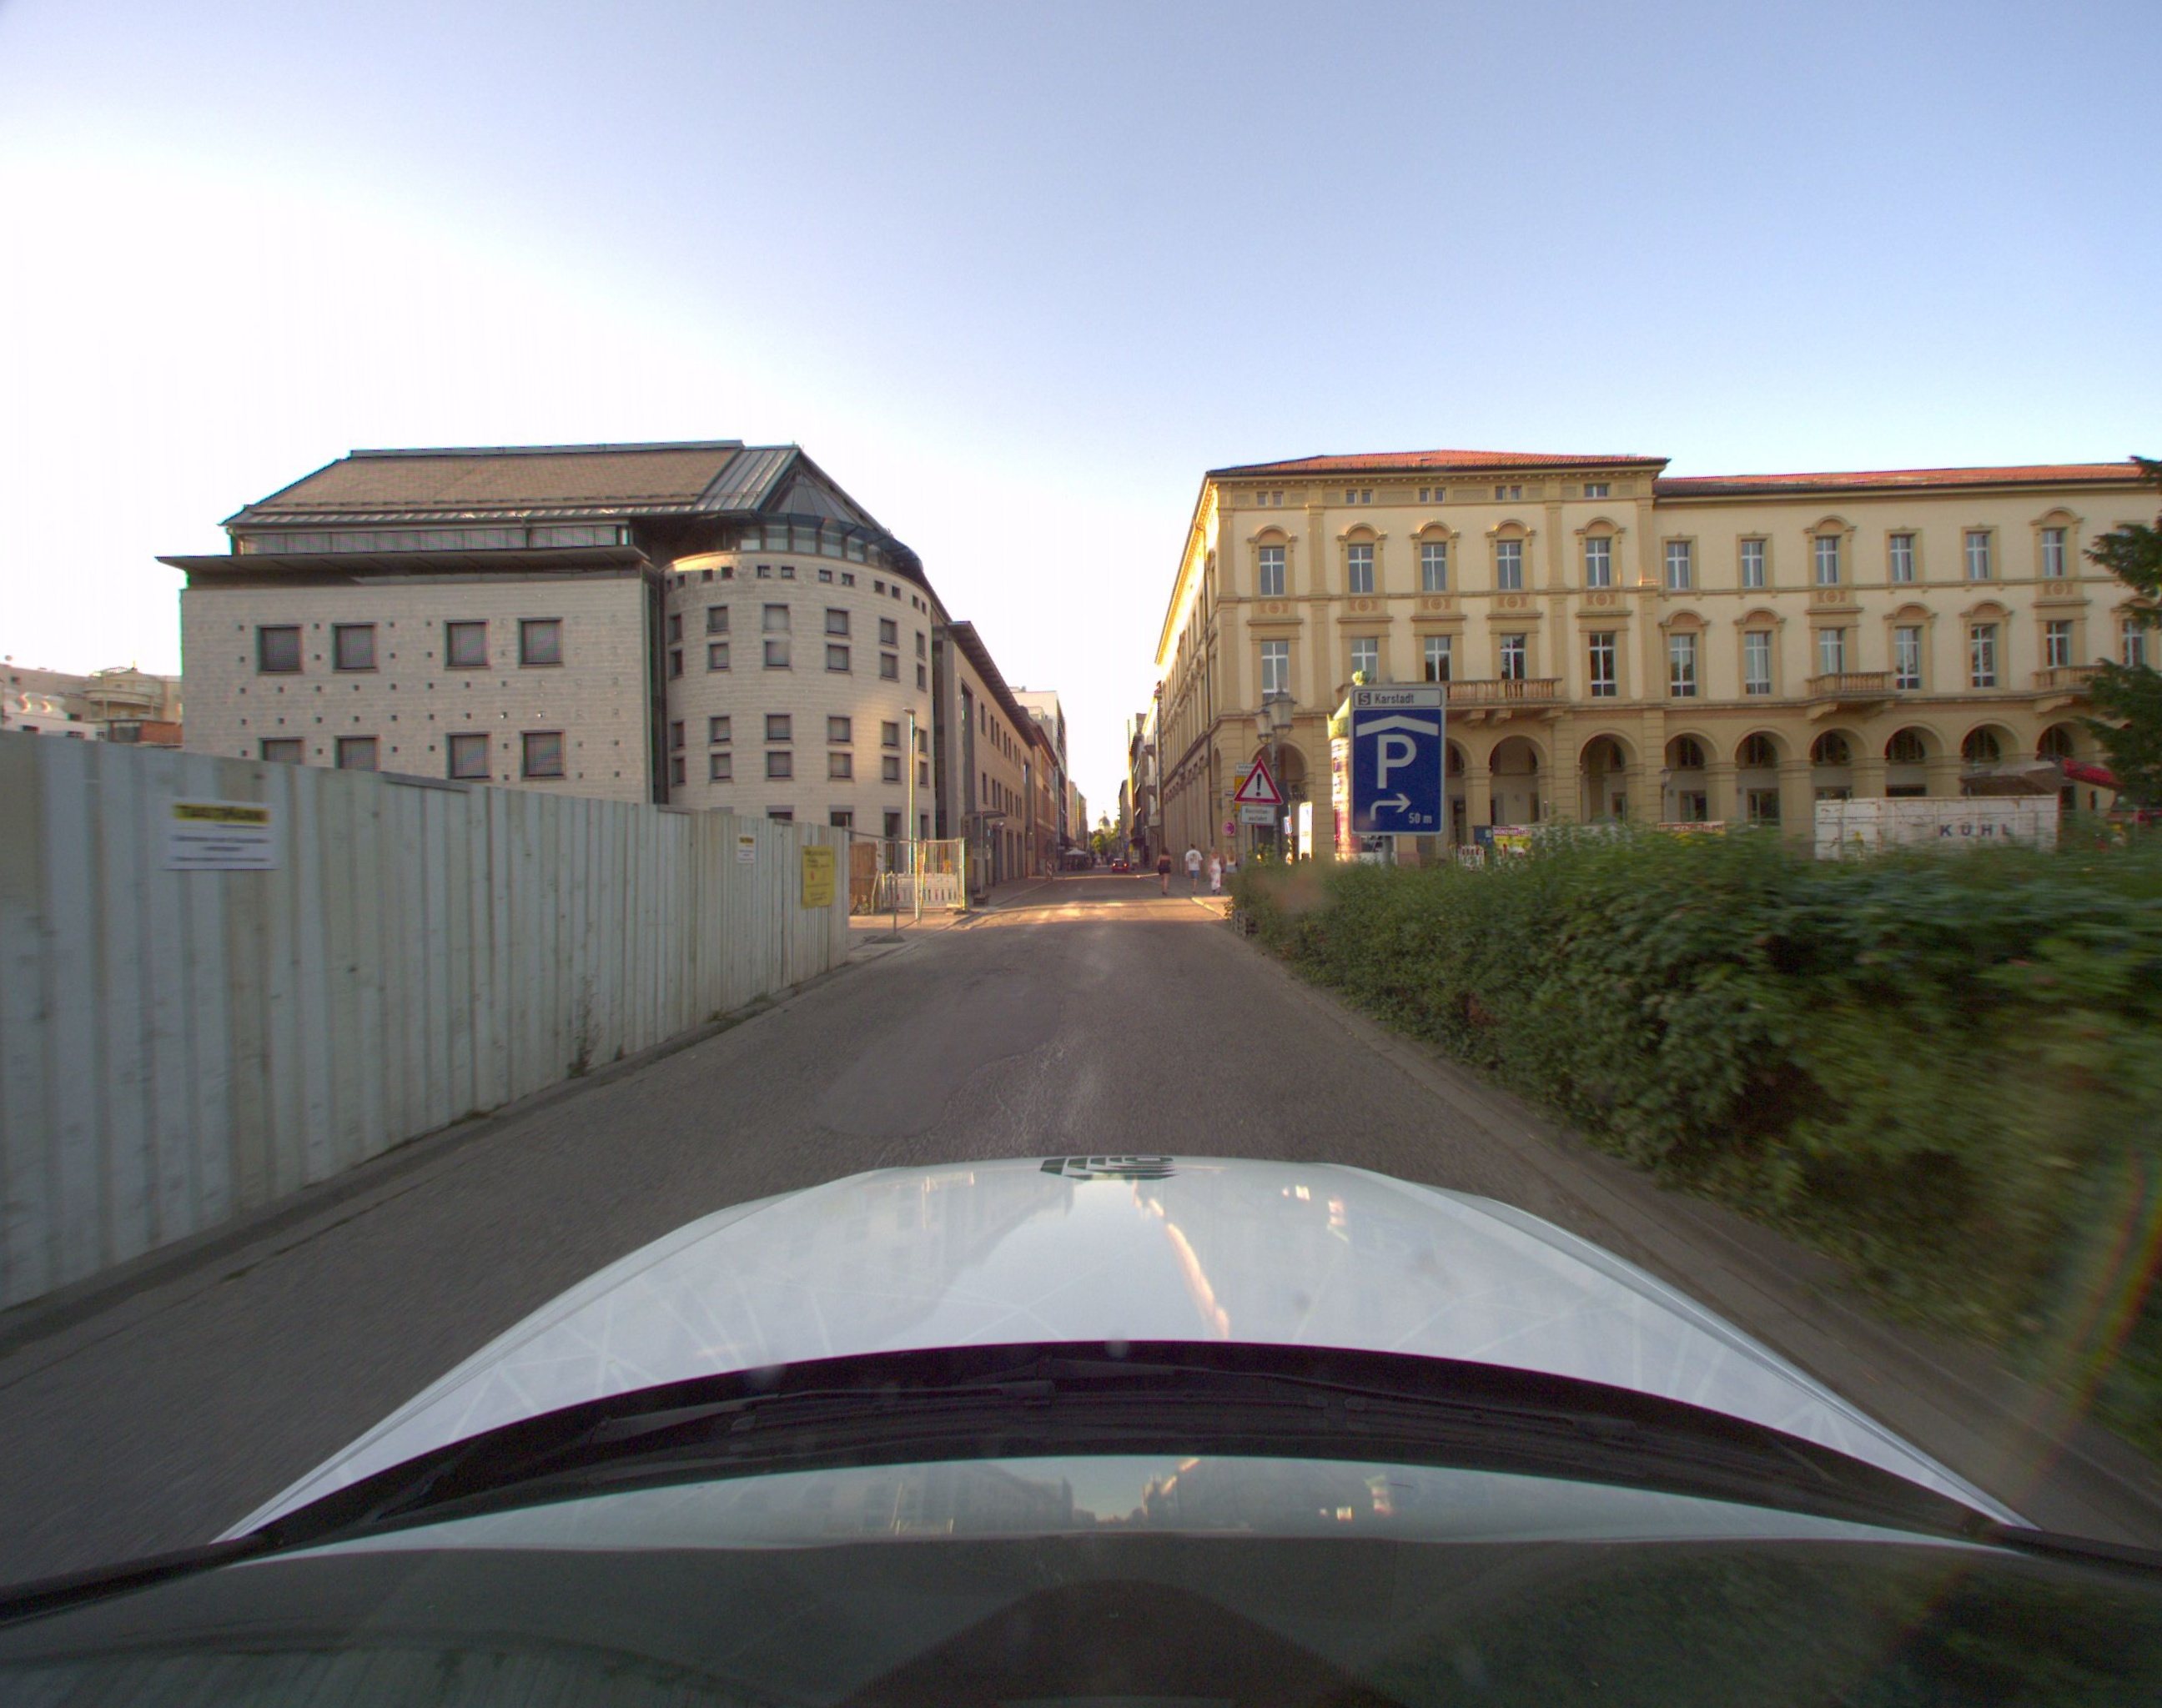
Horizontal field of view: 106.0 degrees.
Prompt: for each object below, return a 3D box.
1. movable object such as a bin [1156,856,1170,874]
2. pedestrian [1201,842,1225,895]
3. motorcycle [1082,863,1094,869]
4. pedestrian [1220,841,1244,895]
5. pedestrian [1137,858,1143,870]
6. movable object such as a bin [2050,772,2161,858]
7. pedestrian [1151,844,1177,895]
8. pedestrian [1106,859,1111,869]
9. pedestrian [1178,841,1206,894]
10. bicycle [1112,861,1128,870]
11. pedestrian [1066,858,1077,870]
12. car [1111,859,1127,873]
[{"bbox_3d":[6.526,0.846,64.737,0.987,1.392,1.241,-2,-1,1],"label":"movable object such as a bin"},{"bbox_3d":[4.533,0.494,27.991,0.634,1.803,0.772,-2,-1,0],"label":"pedestrian"},{"bbox_3d":[1.109,1.907,125.666,1.797,0.875,0.560,-1,-1,-3],"label":"motorcycle"},{"bbox_3d":[5.186,0.477,28.008,0.634,1.803,0.772,-2,-1,0],"label":"pedestrian"},{"bbox_3d":[7.408,1.301,102.411,0.654,1.488,0.493,-2,-1,3],"label":"pedestrian"},{"bbox_3d":[39.399,-1.460,29.971,4.868,3.008,2.001,-2,0,2],"label":"movable object such as a bin"},{"bbox_3d":[2.952,0.542,29.070,0.773,1.746,0.875,-2,-1,0],"label":"pedestrian"},{"bbox_3d":[4.827,1.717,143.361,0.862,1.713,0.852,-1,-1,1],"label":"pedestrian"},{"bbox_3d":[3.983,0.480,29.321,0.809,1.875,0.875,-2,-1,0],"label":"pedestrian"},{"bbox_3d":[5.101,1.471,107.574,2.047,1.134,0.648,-1,-1,-3],"label":"bicycle"},{"bbox_3d":[-1.148,1.207,101.767,1.286,1.488,0.661,-1,-1,-1],"label":"pedestrian"},{"bbox_3d":[3.978,1.278,85.728,1.643,1.427,3.537,1,-1,2],"label":"car"}]
